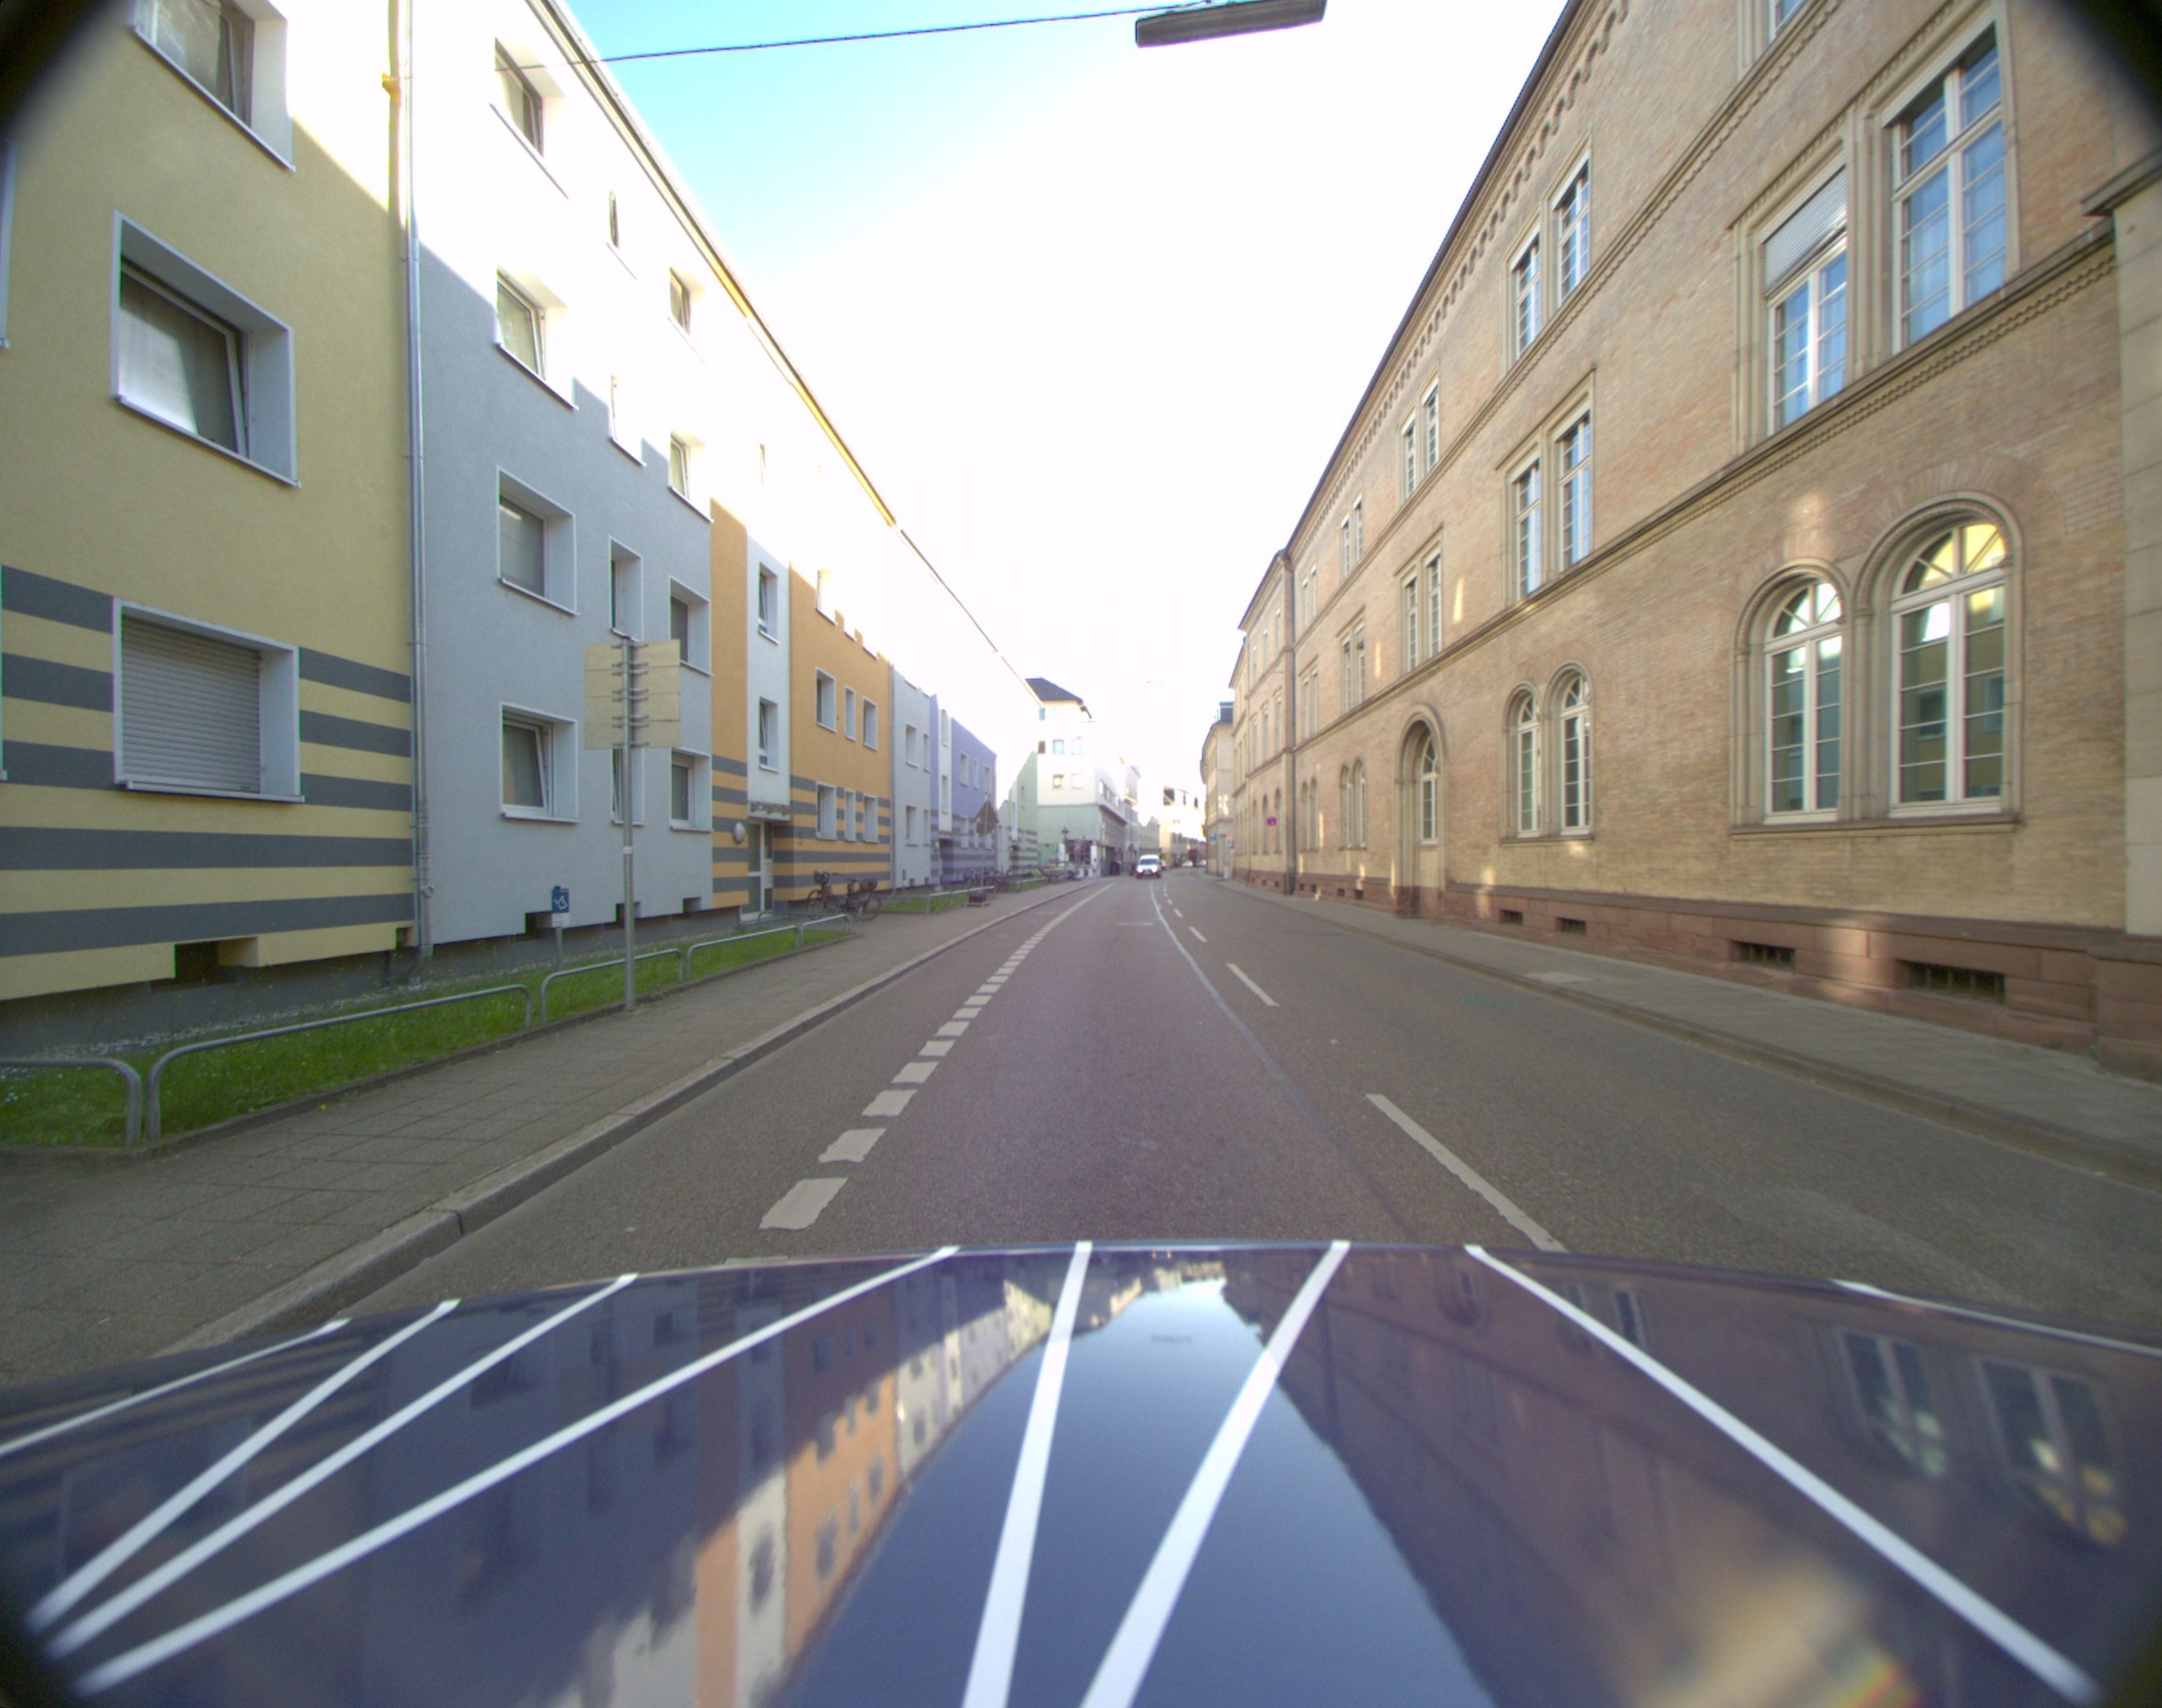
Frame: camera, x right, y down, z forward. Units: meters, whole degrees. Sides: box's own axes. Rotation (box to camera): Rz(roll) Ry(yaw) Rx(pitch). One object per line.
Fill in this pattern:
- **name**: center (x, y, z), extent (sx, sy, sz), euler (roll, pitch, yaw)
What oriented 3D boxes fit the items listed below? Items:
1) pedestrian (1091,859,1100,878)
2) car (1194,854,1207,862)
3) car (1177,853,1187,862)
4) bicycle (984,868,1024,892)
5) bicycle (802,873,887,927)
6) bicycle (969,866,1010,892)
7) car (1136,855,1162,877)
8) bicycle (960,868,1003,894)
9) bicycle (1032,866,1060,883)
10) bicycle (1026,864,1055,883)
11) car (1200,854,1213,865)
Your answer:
- **pedestrian**: center (1.110, 1.111, 58.482), extent (0.708, 1.510, 0.661), euler (-1, 0, -2)
- **car**: center (25.774, 0.862, 163.616), extent (1.925, 1.714, 4.236), euler (0, 0, 19)
- **car**: center (19.920, 0.665, 149.656), extent (1.534, 1.714, 3.743), euler (0, 0, 16)
- **bicycle**: center (-3.405, 1.160, 33.764), extent (1.711, 1.029, 0.636), euler (1, 0, -2)
- **bicycle**: center (-5.302, 1.024, 17.107), extent (1.711, 1.152, 0.636), euler (1, 0, -2)
- **bicycle**: center (-3.964, 1.095, 33.003), extent (1.710, 1.075, 0.636), euler (1, 0, 1)
- **car**: center (5.443, 0.917, 60.228), extent (1.922, 1.712, 4.962), euler (0, 0, 6)
- **bicycle**: center (-4.166, 1.133, 31.860), extent (1.710, 1.039, 0.636), euler (1, 0, 2)
- **bicycle**: center (-2.189, 1.280, 47.583), extent (1.711, 0.972, 0.516), euler (1, 0, -2)
- **bicycle**: center (-2.436, 1.193, 46.122), extent (1.711, 1.097, 0.584), euler (1, 0, -2)
- **car**: center (19.865, 0.845, 120.132), extent (1.662, 1.714, 3.743), euler (0, 0, 14)
